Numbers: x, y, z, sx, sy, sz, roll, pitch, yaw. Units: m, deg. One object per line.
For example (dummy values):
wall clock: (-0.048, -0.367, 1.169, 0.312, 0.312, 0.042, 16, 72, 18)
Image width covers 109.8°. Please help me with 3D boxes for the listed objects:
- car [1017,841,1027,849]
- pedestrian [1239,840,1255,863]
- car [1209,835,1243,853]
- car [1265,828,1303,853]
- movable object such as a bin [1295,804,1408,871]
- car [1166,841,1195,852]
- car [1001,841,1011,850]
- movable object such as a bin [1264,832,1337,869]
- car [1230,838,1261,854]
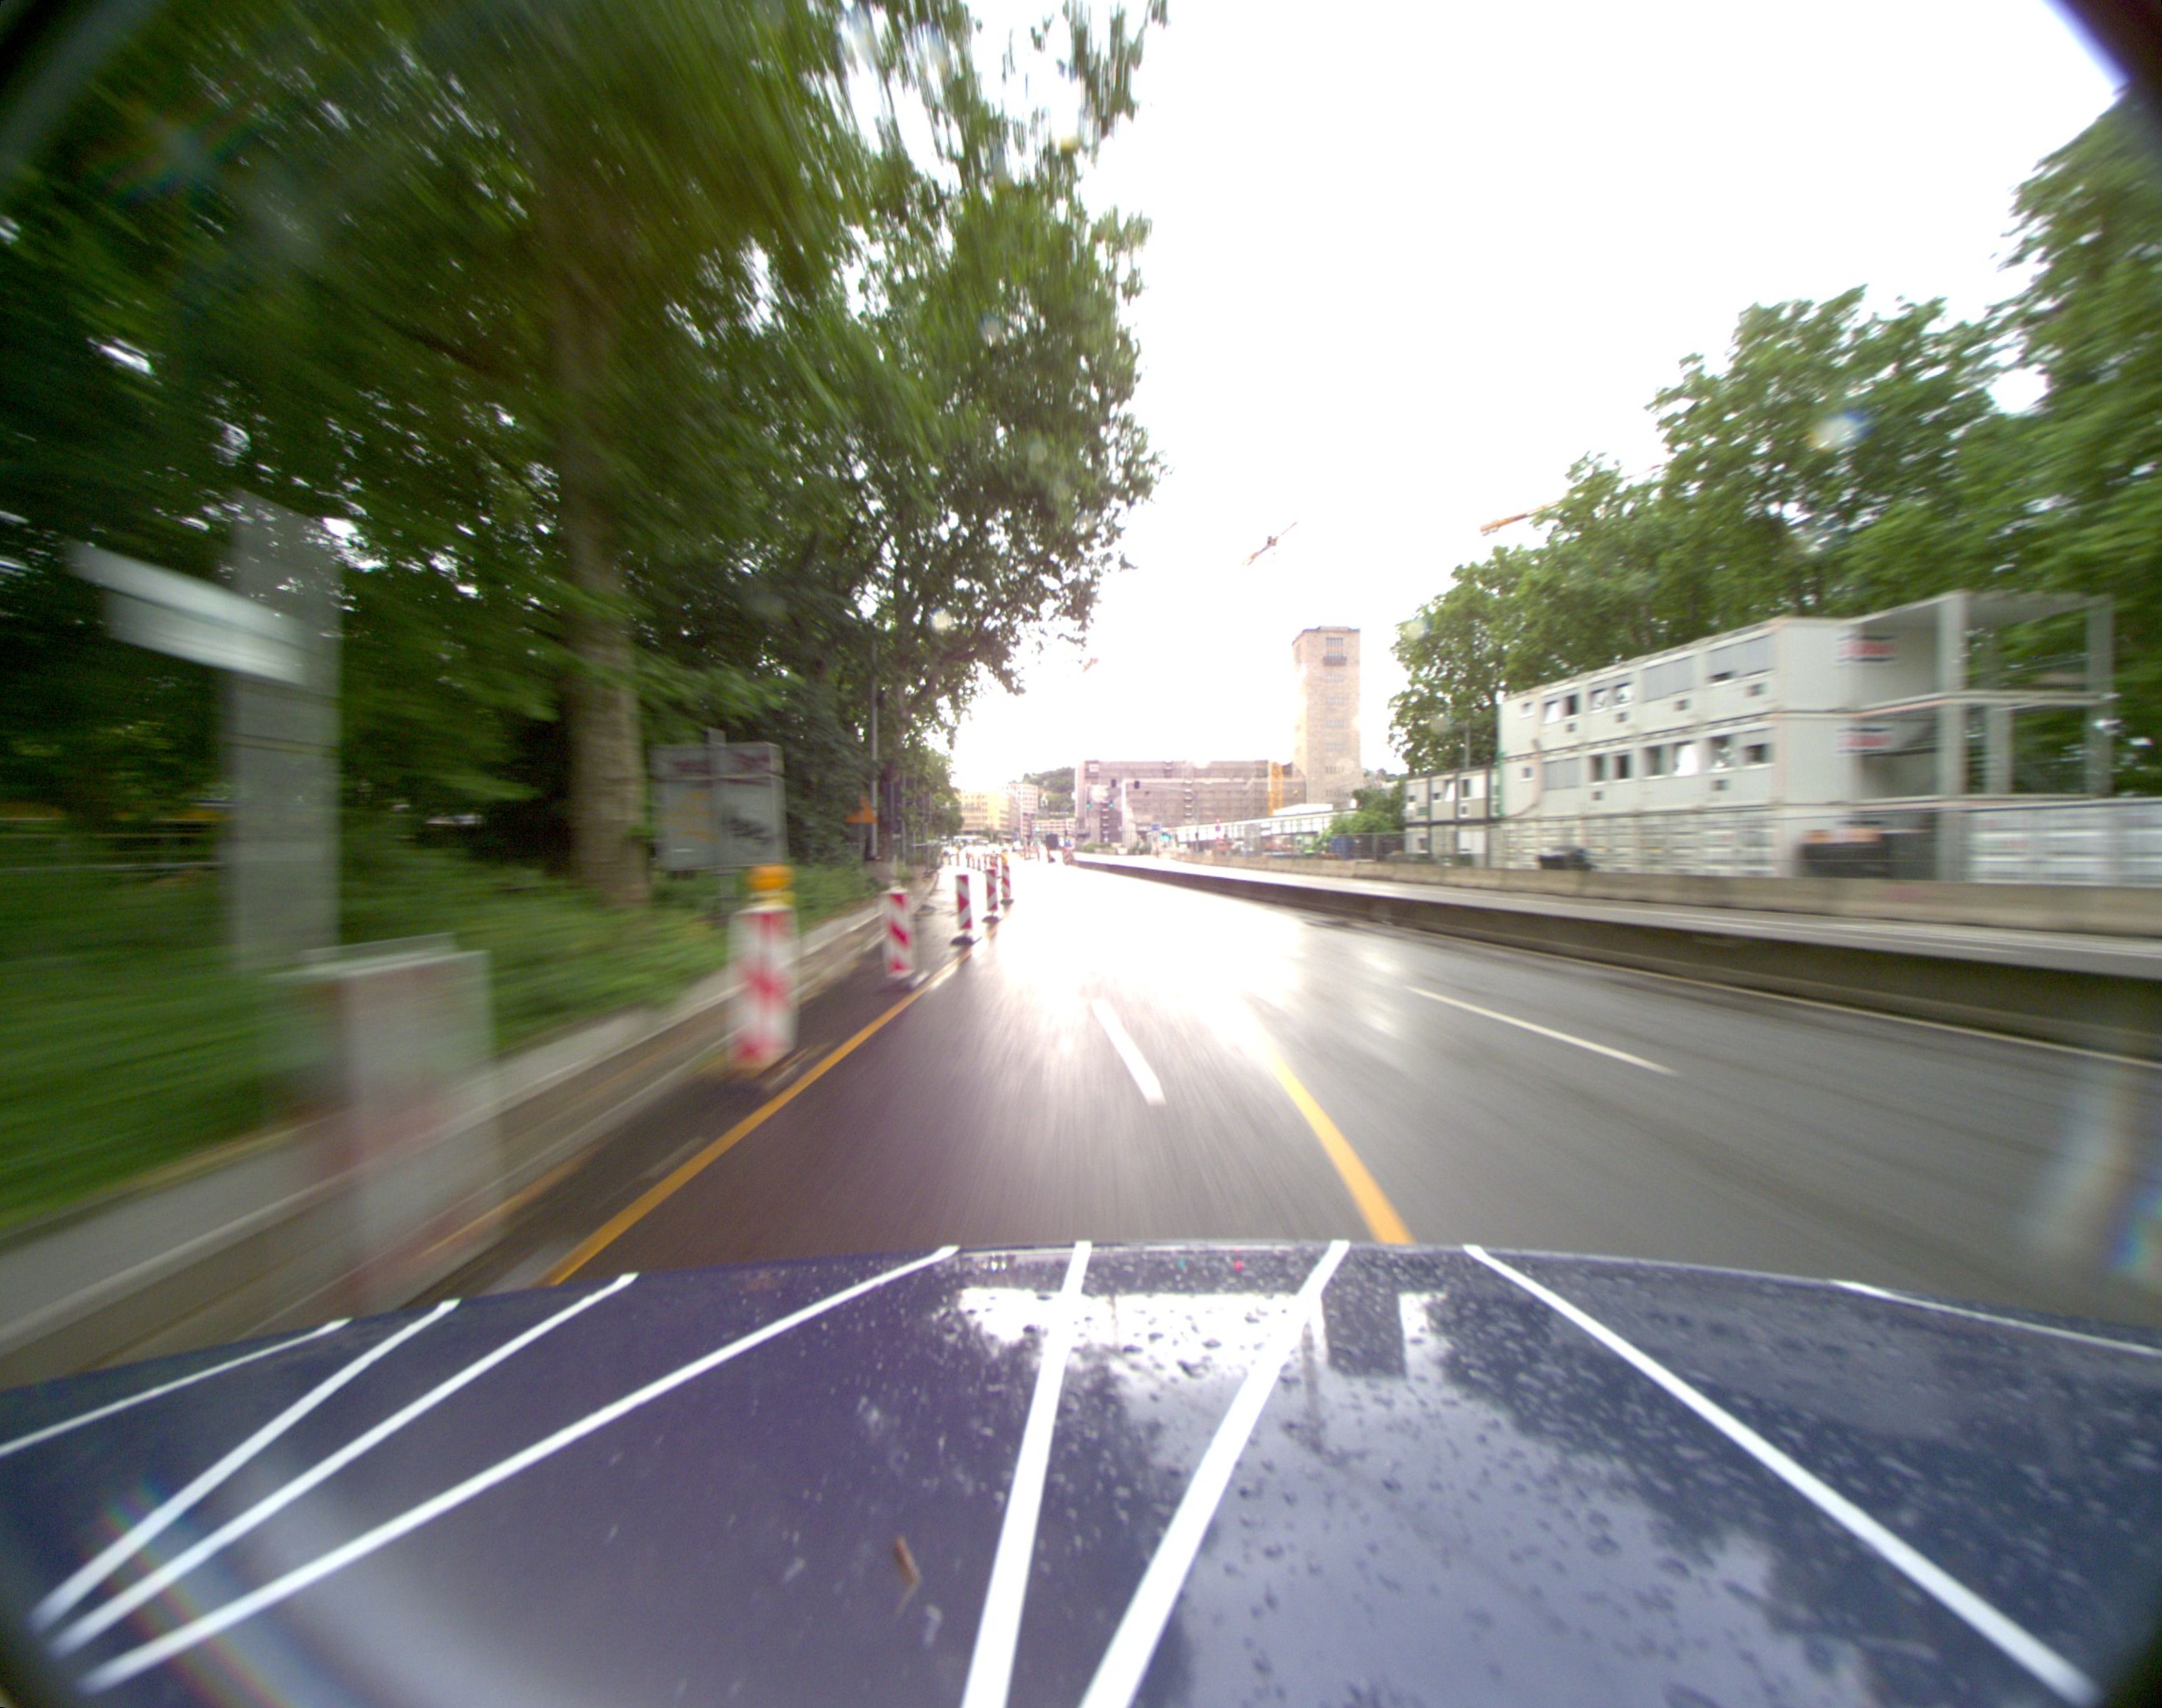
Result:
car: (-12.339, -1.892, 158.193, 1.833, 1.643, 4.569, 0, 1, -8)
pedestrian: (14.968, -0.207, 68.522, 1.183, 2.002, 1.173, -1, 2, -1)
car: (17.844, -1.270, 93.892, 2.001, 2.088, 5.575, 2, 1, -12)
car: (26.102, -1.770, 98.005, 2.281, 3.049, 6.162, 0, 1, -10)
movable object such as a bin: (20.639, -1.239, 58.722, 4.765, 4.776, 8.350, 0, 1, -9)
car: (17.648, -1.306, 134.824, 5.011, 2.002, 2.004, 1, 1, 45)
car: (-15.691, -1.720, 158.305, 2.000, 1.804, 4.289, 0, 1, -8)
movable object such as a bin: (19.409, -0.341, 67.681, 3.945, 3.110, 6.381, 0, 1, -9)
car: (18.992, -0.977, 88.082, 1.851, 1.751, 4.792, 0, 1, -9)
